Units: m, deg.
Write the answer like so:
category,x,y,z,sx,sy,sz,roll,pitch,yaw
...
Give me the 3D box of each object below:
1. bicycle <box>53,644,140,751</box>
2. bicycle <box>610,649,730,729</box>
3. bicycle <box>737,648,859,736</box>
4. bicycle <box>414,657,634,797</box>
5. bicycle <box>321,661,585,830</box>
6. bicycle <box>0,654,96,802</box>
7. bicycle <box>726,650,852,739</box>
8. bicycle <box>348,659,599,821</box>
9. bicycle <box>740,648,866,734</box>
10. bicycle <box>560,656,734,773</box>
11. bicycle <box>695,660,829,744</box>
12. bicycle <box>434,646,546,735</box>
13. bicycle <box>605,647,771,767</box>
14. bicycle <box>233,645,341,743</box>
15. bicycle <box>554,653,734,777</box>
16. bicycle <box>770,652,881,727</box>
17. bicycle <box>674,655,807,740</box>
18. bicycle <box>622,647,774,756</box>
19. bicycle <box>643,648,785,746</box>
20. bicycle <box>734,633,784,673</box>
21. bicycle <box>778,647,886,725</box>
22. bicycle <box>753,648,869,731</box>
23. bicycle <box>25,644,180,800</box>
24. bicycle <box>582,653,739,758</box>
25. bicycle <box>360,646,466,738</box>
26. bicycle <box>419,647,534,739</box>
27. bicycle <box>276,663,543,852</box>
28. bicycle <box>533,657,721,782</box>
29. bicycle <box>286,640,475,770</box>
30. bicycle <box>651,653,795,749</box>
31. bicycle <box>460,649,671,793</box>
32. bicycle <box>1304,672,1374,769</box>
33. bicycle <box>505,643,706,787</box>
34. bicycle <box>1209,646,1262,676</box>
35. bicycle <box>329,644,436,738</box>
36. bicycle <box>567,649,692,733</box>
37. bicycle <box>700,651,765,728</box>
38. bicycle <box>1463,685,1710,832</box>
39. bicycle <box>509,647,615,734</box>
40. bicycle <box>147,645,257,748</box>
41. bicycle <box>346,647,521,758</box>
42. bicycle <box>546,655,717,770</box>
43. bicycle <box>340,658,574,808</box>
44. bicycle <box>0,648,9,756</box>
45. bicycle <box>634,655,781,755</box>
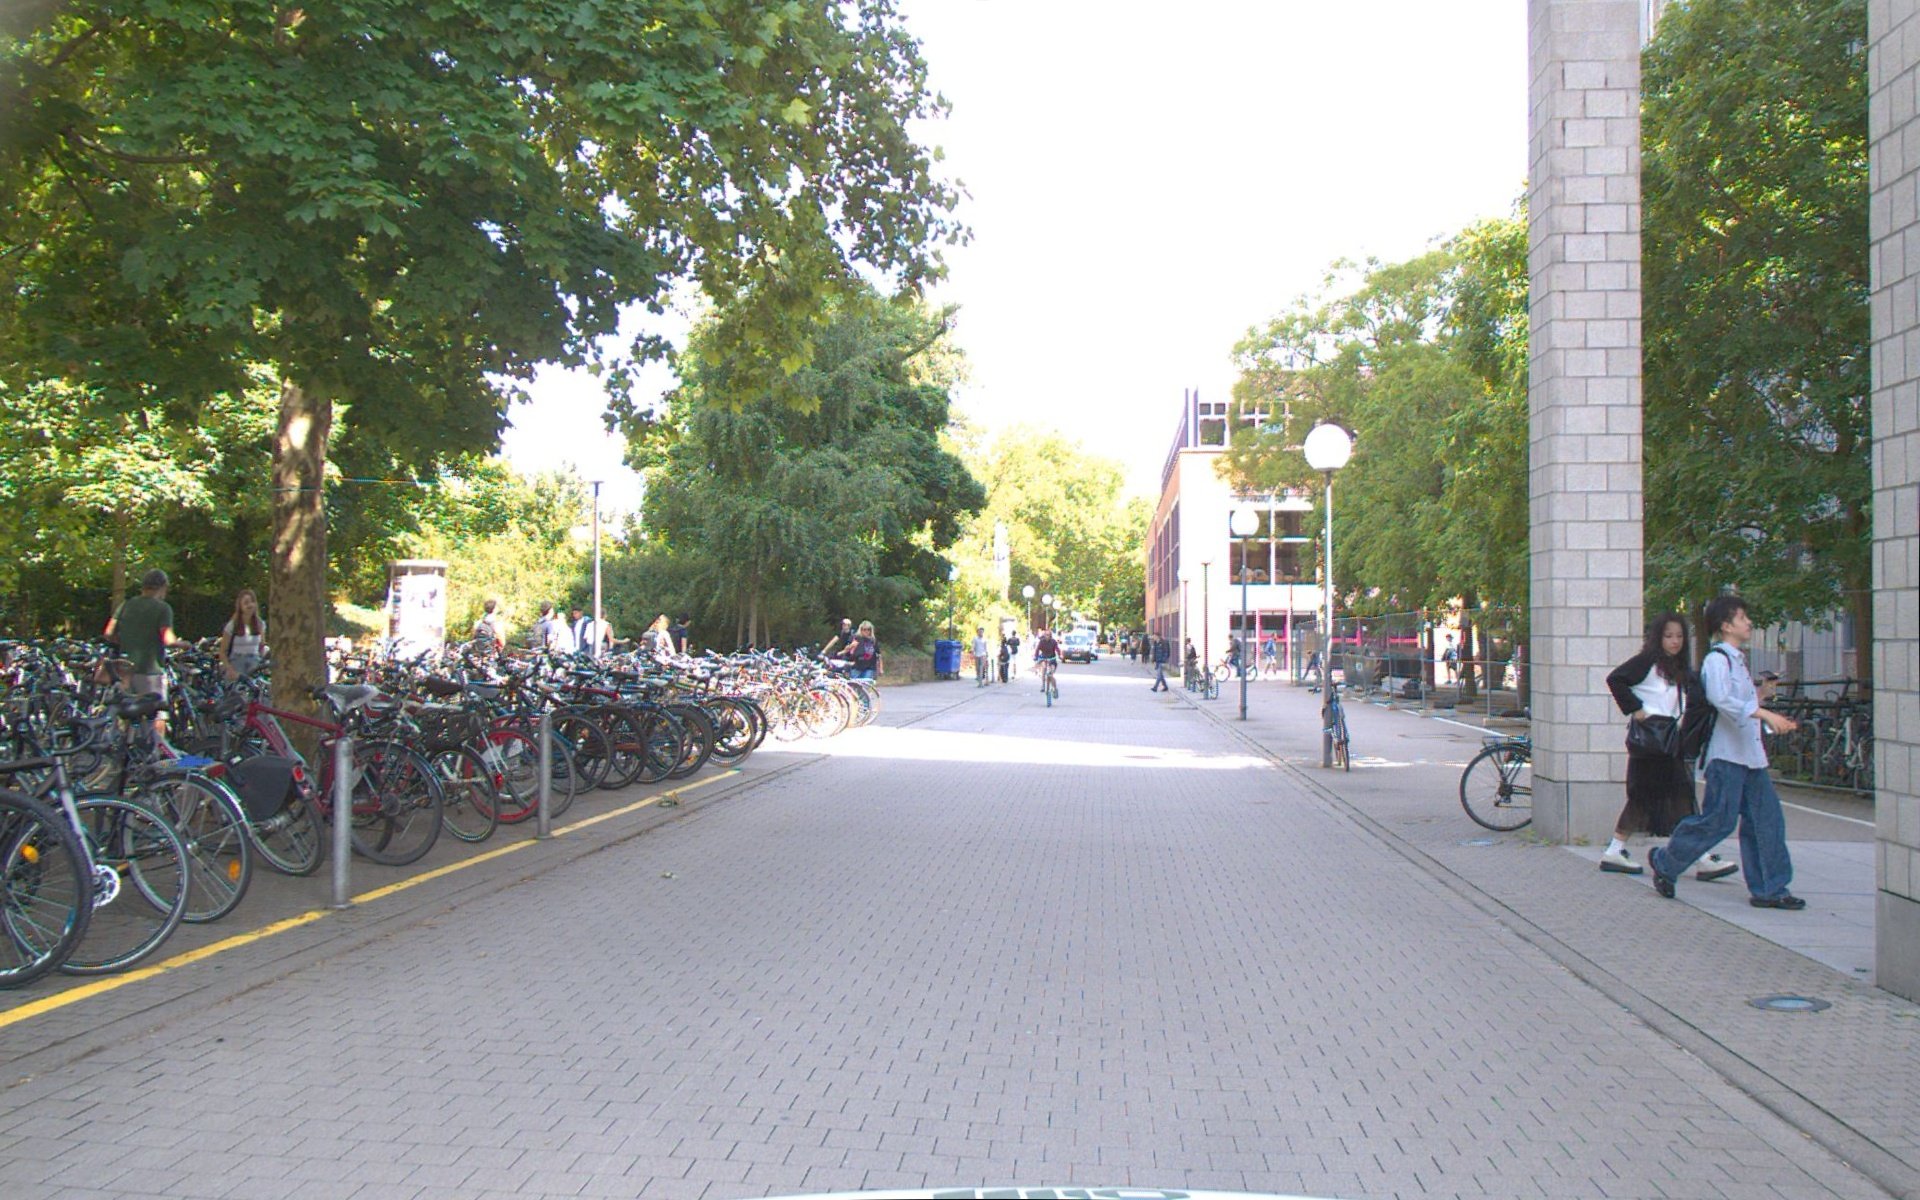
category,x,y,z,sx,sy,sz,roll,pitch,yaw
bicycle,-9.581,1.059,18.329,0.470,1.102,1.675,2,-2,-40
bicycle,-4.187,1.276,23.866,1.658,1.102,0.474,1,-2,17
bicycle,-2.270,1.285,23.173,1.662,1.189,0.473,1,-2,-8
bicycle,-3.634,1.059,13.870,1.702,1.127,0.496,1,-2,-8
bicycle,-3.578,1.015,11.733,1.698,1.127,0.497,1,-2,5
bicycle,-7.742,1.021,13.635,1.669,1.127,0.500,0,-2,41
bicycle,-2.343,1.290,22.634,1.664,1.189,0.472,1,-2,-12
bicycle,-3.613,1.031,12.358,1.699,1.146,0.497,1,-2,0
bicycle,-2.266,1.303,23.886,1.738,1.189,0.474,1,-2,18
bicycle,-3.114,1.141,16.550,1.662,1.127,0.473,1,-2,-7
bicycle,-2.552,1.310,21.399,1.676,1.036,0.469,2,-2,-30
bicycle,-6.178,1.173,21.715,1.666,1.102,0.472,0,-2,36
bicycle,-2.859,1.124,17.506,1.660,1.220,0.536,1,-2,-4
bicycle,-8.077,1.110,19.829,1.668,1.102,0.471,0,-2,41
bicycle,-3.052,1.113,16.086,1.662,1.165,0.473,1,-2,-7
bicycle,-2.064,1.375,25.487,1.659,1.110,0.474,1,-2,-1
bicycle,-2.885,1.279,21.781,1.676,1.080,0.469,2,-2,-30
bicycle,-2.980,1.153,18.904,1.661,1.208,0.473,1,-2,-7
bicycle,-3.057,1.207,20.588,1.670,1.178,0.471,2,-2,-23
bicycle,-5.503,1.460,45.277,0.463,1.065,1.698,2,-2,26
bicycle,-2.000,1.345,25.954,1.660,1.179,0.474,1,-2,-4
bicycle,-2.218,1.332,24.736,1.659,1.189,0.474,1,-2,-1
bicycle,-7.316,1.004,14.083,1.669,1.221,0.572,0,-2,41
bicycle,-3.309,1.166,18.376,1.661,1.127,0.565,1,-2,-7
bicycle,-6.968,1.152,21.032,1.668,1.102,0.471,0,-2,41
bicycle,-6.178,1.172,21.100,1.666,1.102,0.472,0,-2,37
bicycle,-3.618,0.998,10.860,1.700,1.127,0.574,0,-2,24
bicycle,-3.113,1.115,15.564,1.661,1.127,0.496,1,-2,-6
bicycle,-5.720,1.036,16.382,1.661,1.241,0.502,1,-2,-7
bicycle,-2.883,1.225,20.159,1.670,1.127,0.471,2,-2,-23
bicycle,-3.456,1.050,14.549,1.698,1.199,0.497,1,-2,4
bicycle,4.485,1.403,19.662,0.526,1.058,1.859,0,-1,4
bicycle,-3.218,1.037,15.093,1.700,1.257,0.497,1,-2,-3
bicycle,10.347,2.279,62.196,1.863,1.102,0.588,0,-1,25
bicycle,-7.203,1.110,20.609,1.668,1.102,0.471,0,-2,41
bicycle,-4.559,1.247,22.820,1.658,1.102,0.474,1,-2,18
bicycle,-3.414,1.322,24.920,0.496,1.102,1.701,1,-1,8
bicycle,4.737,1.193,12.556,1.703,1.057,0.449,0,0,0
bicycle,-5.356,1.204,22.221,1.668,1.102,0.471,0,-2,41
bicycle,-8.675,1.079,18.893,1.668,1.102,0.471,0,-2,41
bicycle,-5.531,1.074,17.428,1.661,1.127,0.502,1,-2,-7
bicycle,-3.346,1.149,16.943,1.661,1.127,0.473,1,-2,-7
bicycle,-3.951,1.038,13.039,1.709,1.127,0.494,2,-2,-19
bicycle,-10.606,1.060,17.655,0.470,1.102,1.675,2,-2,-40
bicycle,-2.946,1.231,19.429,1.661,1.127,0.581,1,-2,-7
